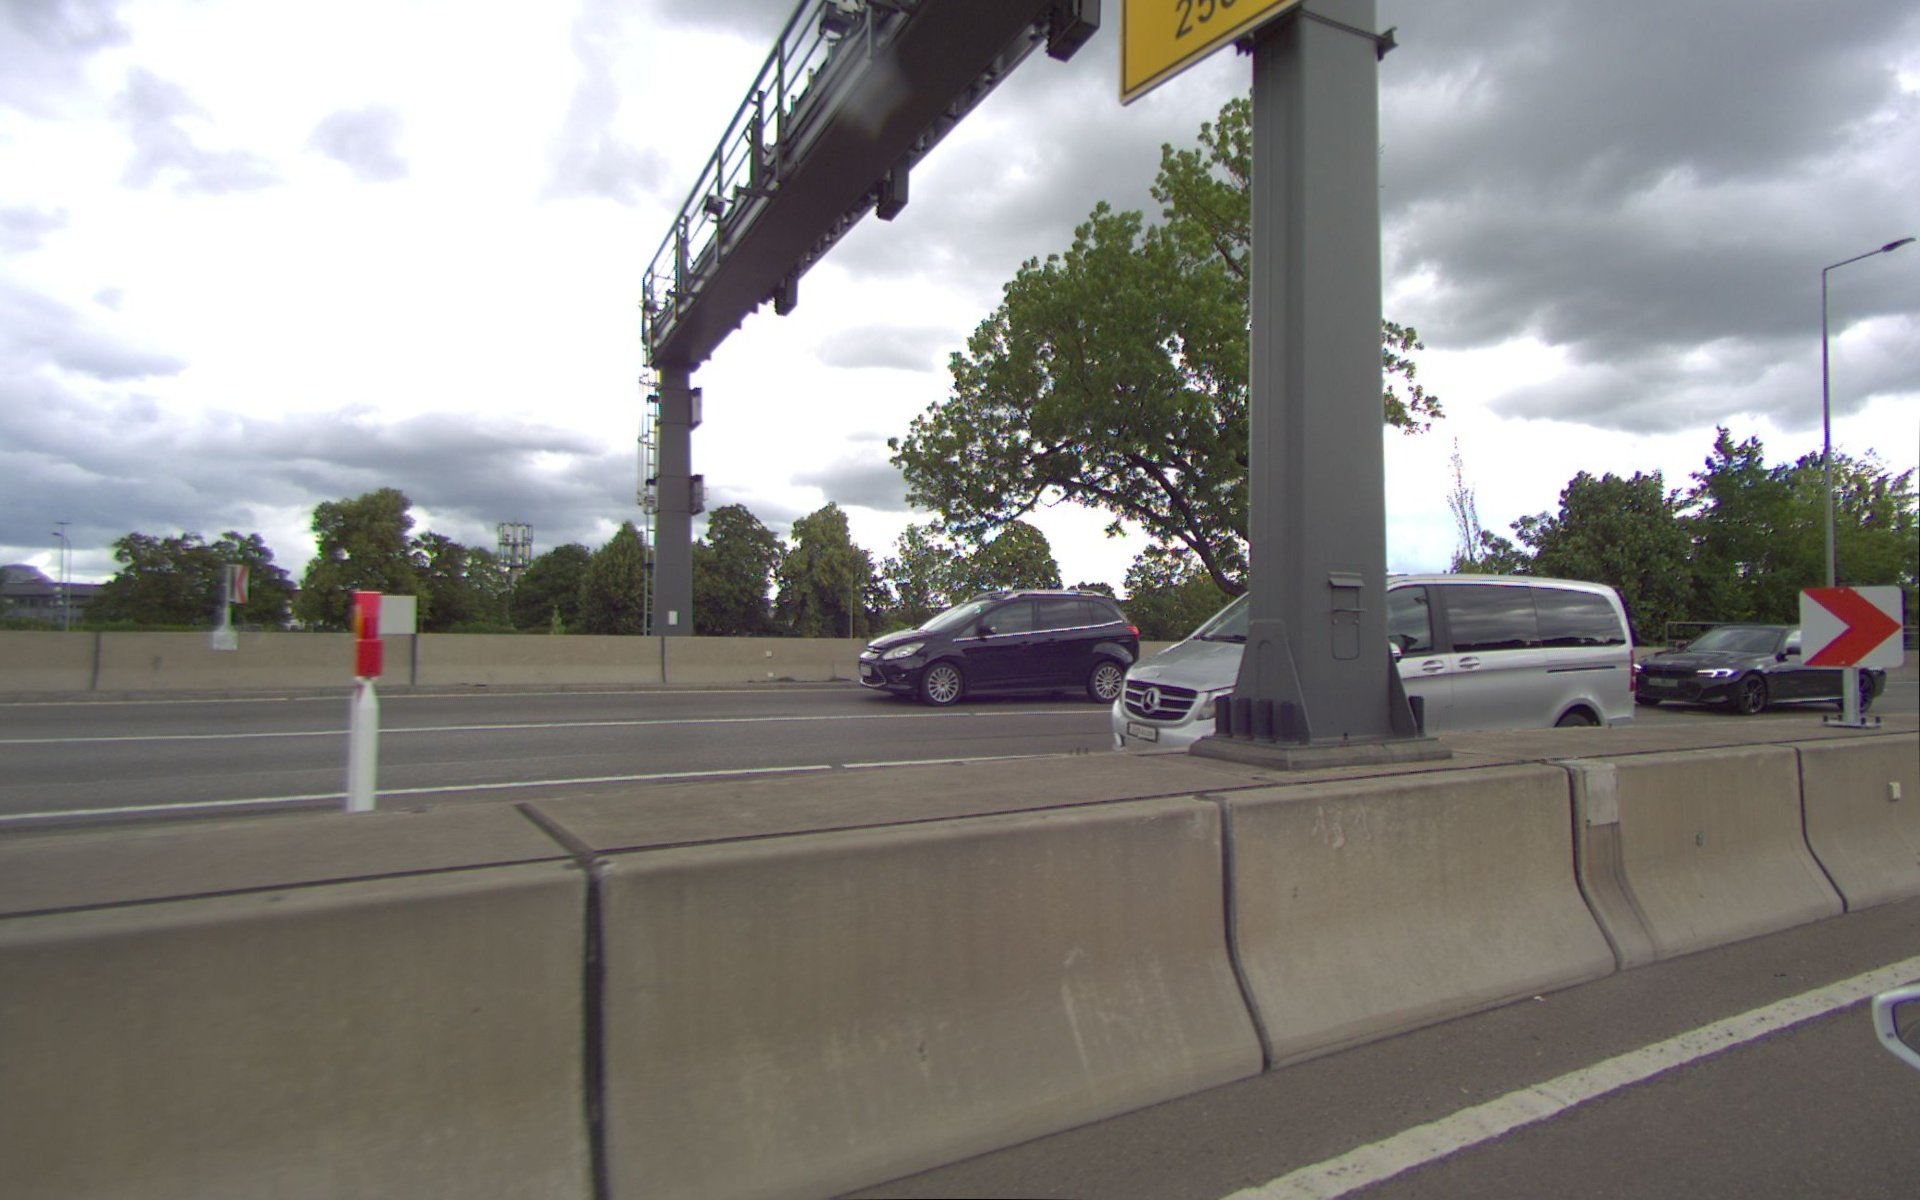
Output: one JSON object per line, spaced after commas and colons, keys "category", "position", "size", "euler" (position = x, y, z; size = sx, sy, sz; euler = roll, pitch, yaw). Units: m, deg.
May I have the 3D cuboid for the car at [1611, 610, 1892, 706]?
{"category": "car", "position": [13.578, 0.967, 17.224], "size": [4.506, 1.472, 1.859], "euler": [2, -1, -23]}

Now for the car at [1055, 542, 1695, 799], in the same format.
{"category": "car", "position": [3.862, 0.571, 9.172], "size": [5.710, 1.831, 1.947], "euler": [2, 0, -23]}

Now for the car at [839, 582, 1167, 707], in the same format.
{"category": "car", "position": [0.662, 0.661, 15.517], "size": [4.660, 1.694, 1.989], "euler": [2, 0, -23]}
